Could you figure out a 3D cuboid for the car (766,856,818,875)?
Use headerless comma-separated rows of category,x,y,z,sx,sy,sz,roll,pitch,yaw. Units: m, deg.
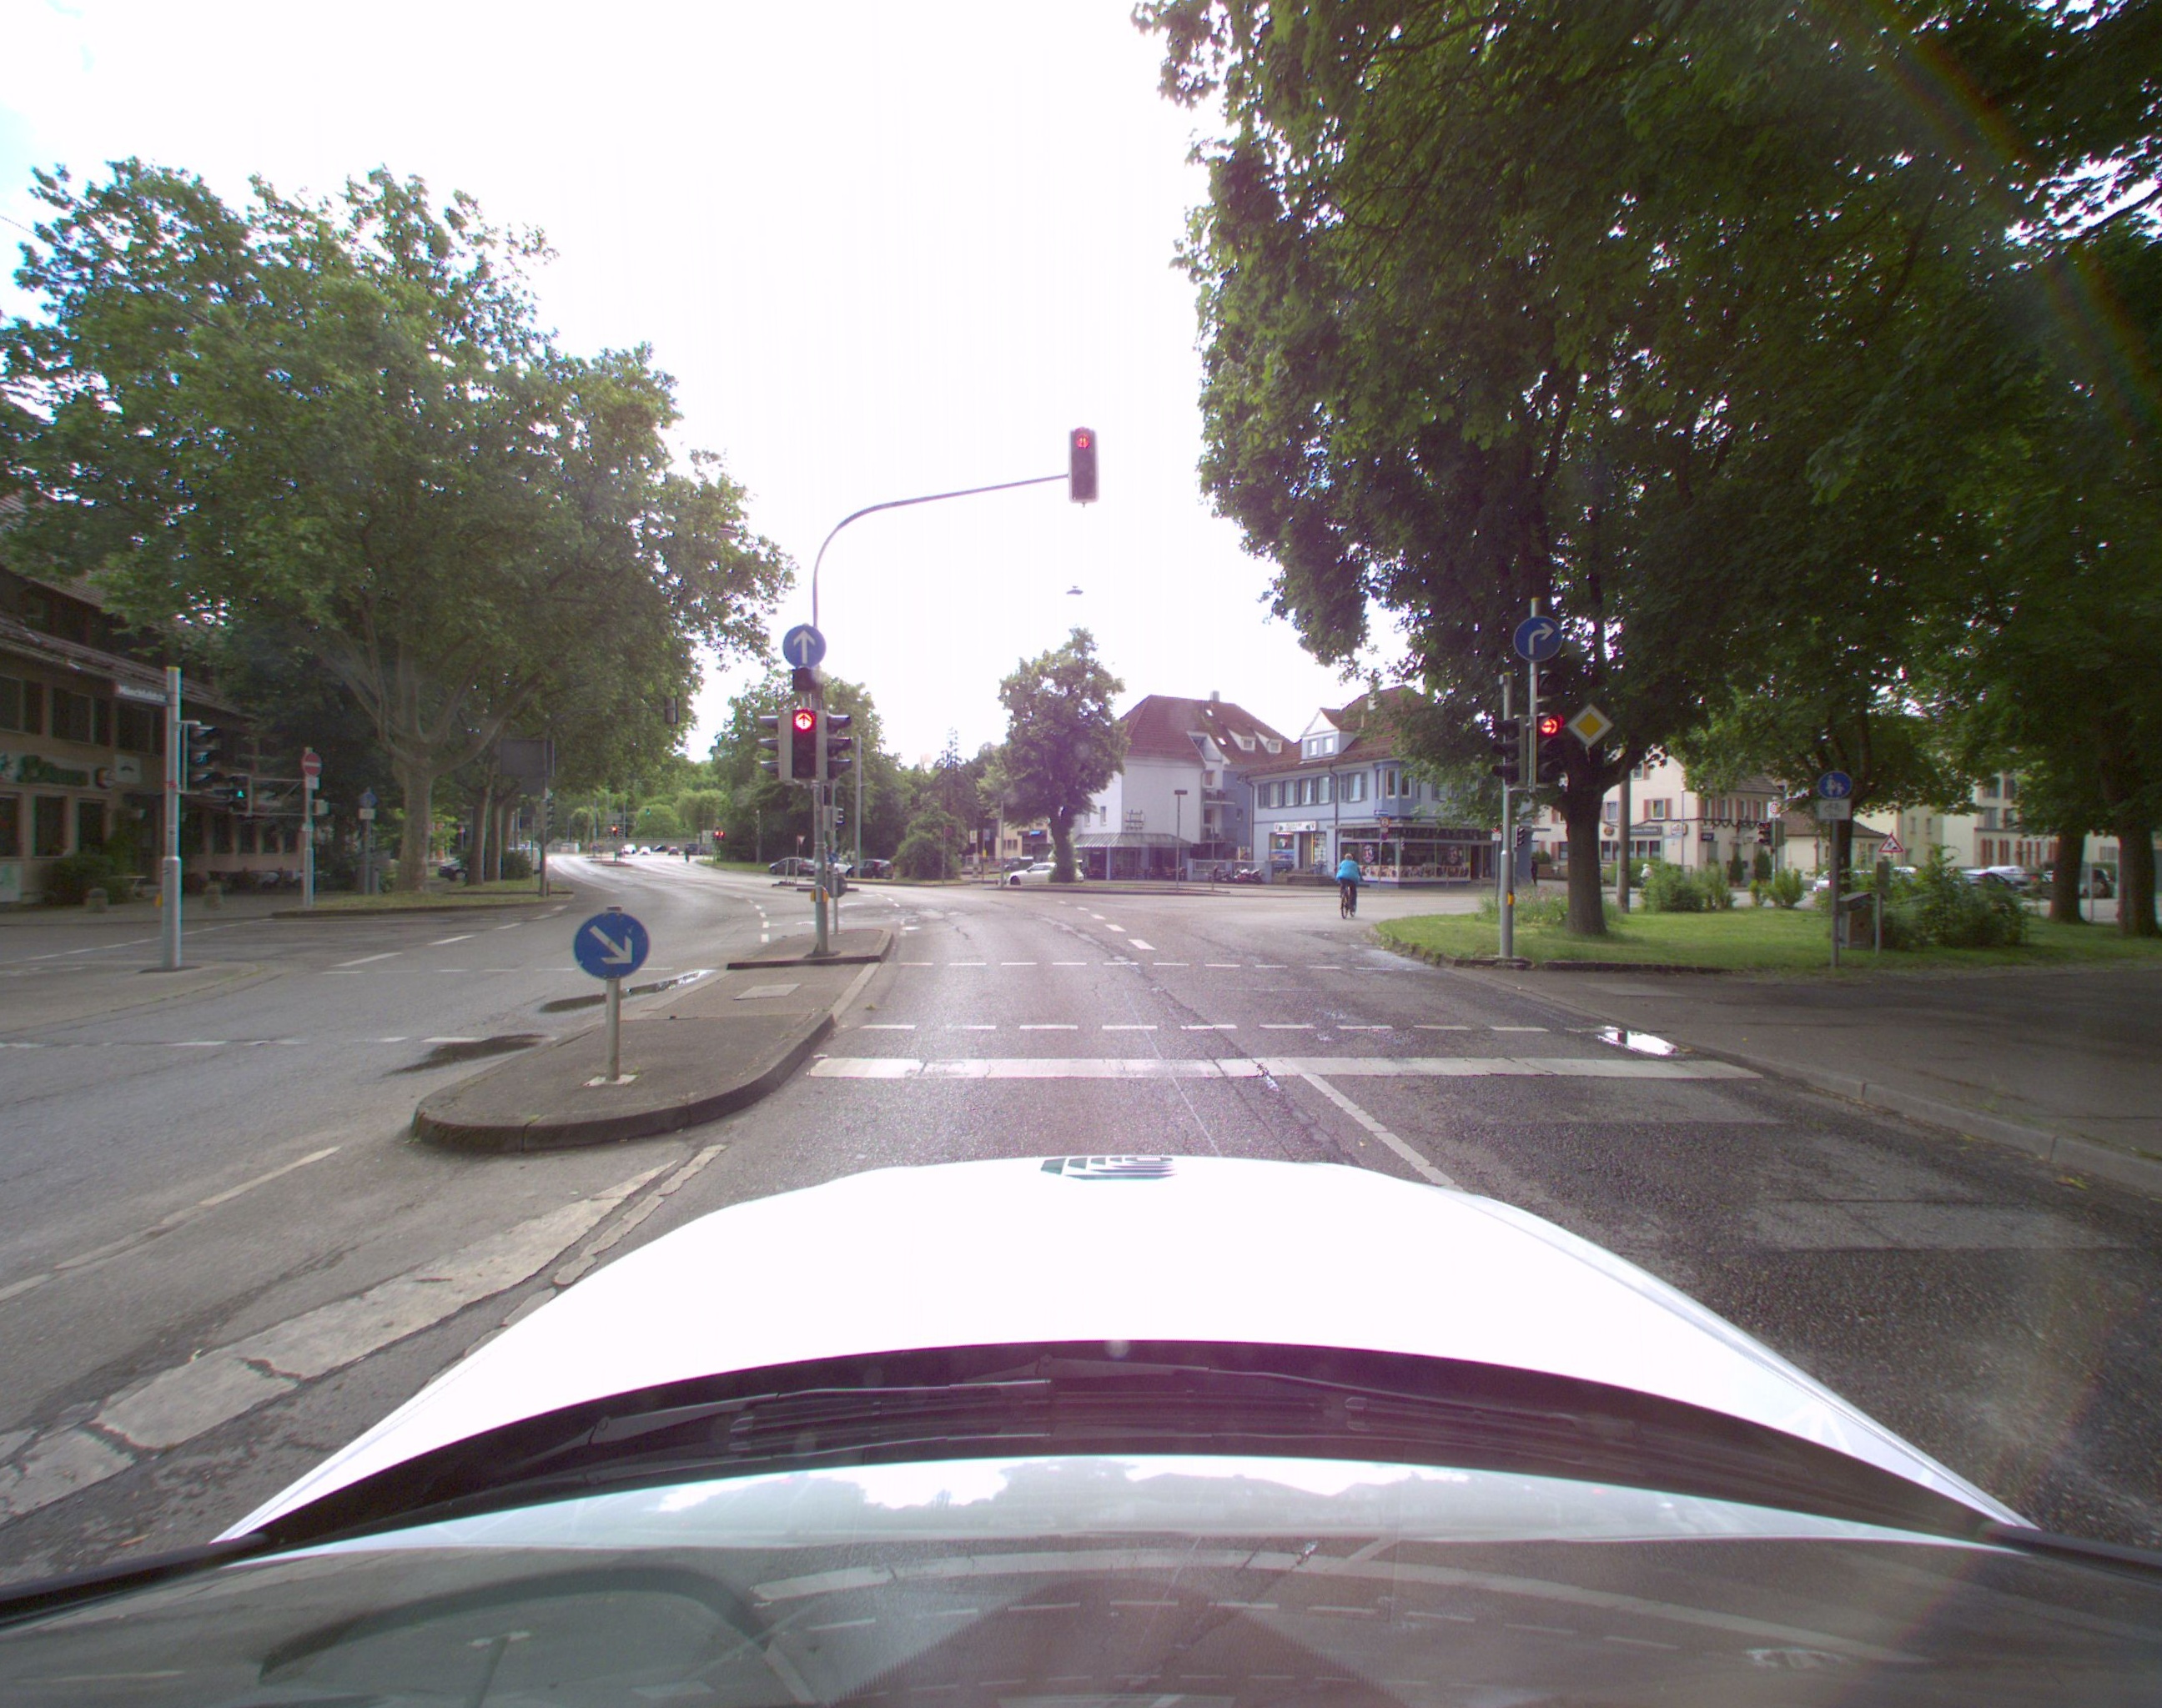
car,-23.105,0.897,65.086,3.742,1.465,1.629,0,0,20

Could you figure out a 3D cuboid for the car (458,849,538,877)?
car,-36.869,0.555,51.634,4.016,1.684,1.979,0,-1,-34

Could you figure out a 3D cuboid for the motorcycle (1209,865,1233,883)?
motorcycle,8.740,1.238,50.881,1.441,1.088,0.527,-1,-1,37

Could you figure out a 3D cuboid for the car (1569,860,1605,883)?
car,32.062,1.097,51.646,1.867,1.391,3.637,0,0,31

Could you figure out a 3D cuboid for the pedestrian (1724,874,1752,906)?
pedestrian,22.423,1.222,27.797,0.505,1.081,0.514,0,-1,-13

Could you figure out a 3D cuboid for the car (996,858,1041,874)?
car,-5.926,1.107,76.628,3.949,1.442,1.742,0,0,-18

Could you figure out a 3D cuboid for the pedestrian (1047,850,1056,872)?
pedestrian,-2.157,0.527,60.139,0.539,1.560,0.470,-1,-1,15

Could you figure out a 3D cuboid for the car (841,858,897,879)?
car,-14.256,0.952,54.645,3.285,1.352,1.791,0,0,28

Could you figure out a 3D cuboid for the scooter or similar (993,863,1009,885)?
scooter or similar,-4.290,1.065,43.573,0.439,1.175,1.442,0,0,11

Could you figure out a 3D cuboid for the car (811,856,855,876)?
car,-20.674,0.954,67.997,1.848,1.640,3.767,0,0,13

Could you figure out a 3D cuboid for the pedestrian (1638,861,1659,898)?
pedestrian,24.583,1.104,35.290,0.687,1.560,0.671,-1,-1,32

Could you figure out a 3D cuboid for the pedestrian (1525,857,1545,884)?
pedestrian,25.974,0.945,46.578,0.671,1.560,0.743,0,-1,-13

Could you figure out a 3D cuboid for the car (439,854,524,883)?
car,-36.018,0.835,49.073,4.016,1.684,1.979,0,-1,-34

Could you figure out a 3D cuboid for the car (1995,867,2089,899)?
car,46.783,1.363,39.664,3.732,1.457,1.640,0,0,-18

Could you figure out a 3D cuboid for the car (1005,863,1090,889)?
car,-1.957,1.209,46.679,4.654,1.410,1.914,0,0,36

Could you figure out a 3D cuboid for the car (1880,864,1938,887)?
car,55.862,1.432,54.950,3.871,1.447,1.753,0,-1,-29

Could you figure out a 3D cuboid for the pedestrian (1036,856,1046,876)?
pedestrian,-4.000,1.166,82.058,0.838,2.014,1.051,0,0,-13

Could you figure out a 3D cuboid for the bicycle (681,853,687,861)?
bicycle,-43.530,0.332,89.289,0.559,0.958,2.014,0,0,-29

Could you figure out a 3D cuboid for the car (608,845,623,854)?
car,-87.811,-0.836,153.686,3.293,1.486,1.594,-1,-2,42

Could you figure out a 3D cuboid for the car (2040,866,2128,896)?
car,52.277,1.364,42.447,3.732,1.457,1.640,0,0,-18

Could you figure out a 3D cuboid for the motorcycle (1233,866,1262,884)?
motorcycle,10.048,1.253,49.089,1.609,1.088,0.631,-1,-1,33

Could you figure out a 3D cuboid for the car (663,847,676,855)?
car,-83.349,-0.536,164.916,2.006,1.596,3.961,0,-1,-30

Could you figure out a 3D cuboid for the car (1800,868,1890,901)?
car,31.719,1.248,33.817,3.008,1.267,1.455,0,0,-17

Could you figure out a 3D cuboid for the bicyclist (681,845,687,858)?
bicyclist,-43.494,-0.277,89.244,0.543,1.342,0.707,0,-1,-29

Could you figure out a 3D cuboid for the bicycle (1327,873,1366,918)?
bicycle,7.458,1.134,22.844,0.866,1.149,1.963,0,0,23

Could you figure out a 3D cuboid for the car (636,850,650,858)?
car,-84.613,0.032,157.214,2.988,1.417,1.509,-1,-2,43

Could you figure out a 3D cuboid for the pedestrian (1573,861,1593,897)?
pedestrian,21.967,1.098,35.616,0.724,1.560,0.773,-1,-1,32

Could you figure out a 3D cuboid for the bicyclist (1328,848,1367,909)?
bicyclist,7.432,0.659,22.683,0.907,1.651,0.994,0,-1,24

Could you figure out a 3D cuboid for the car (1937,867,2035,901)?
car,42.062,1.369,37.863,3.732,1.457,1.640,0,0,-18
